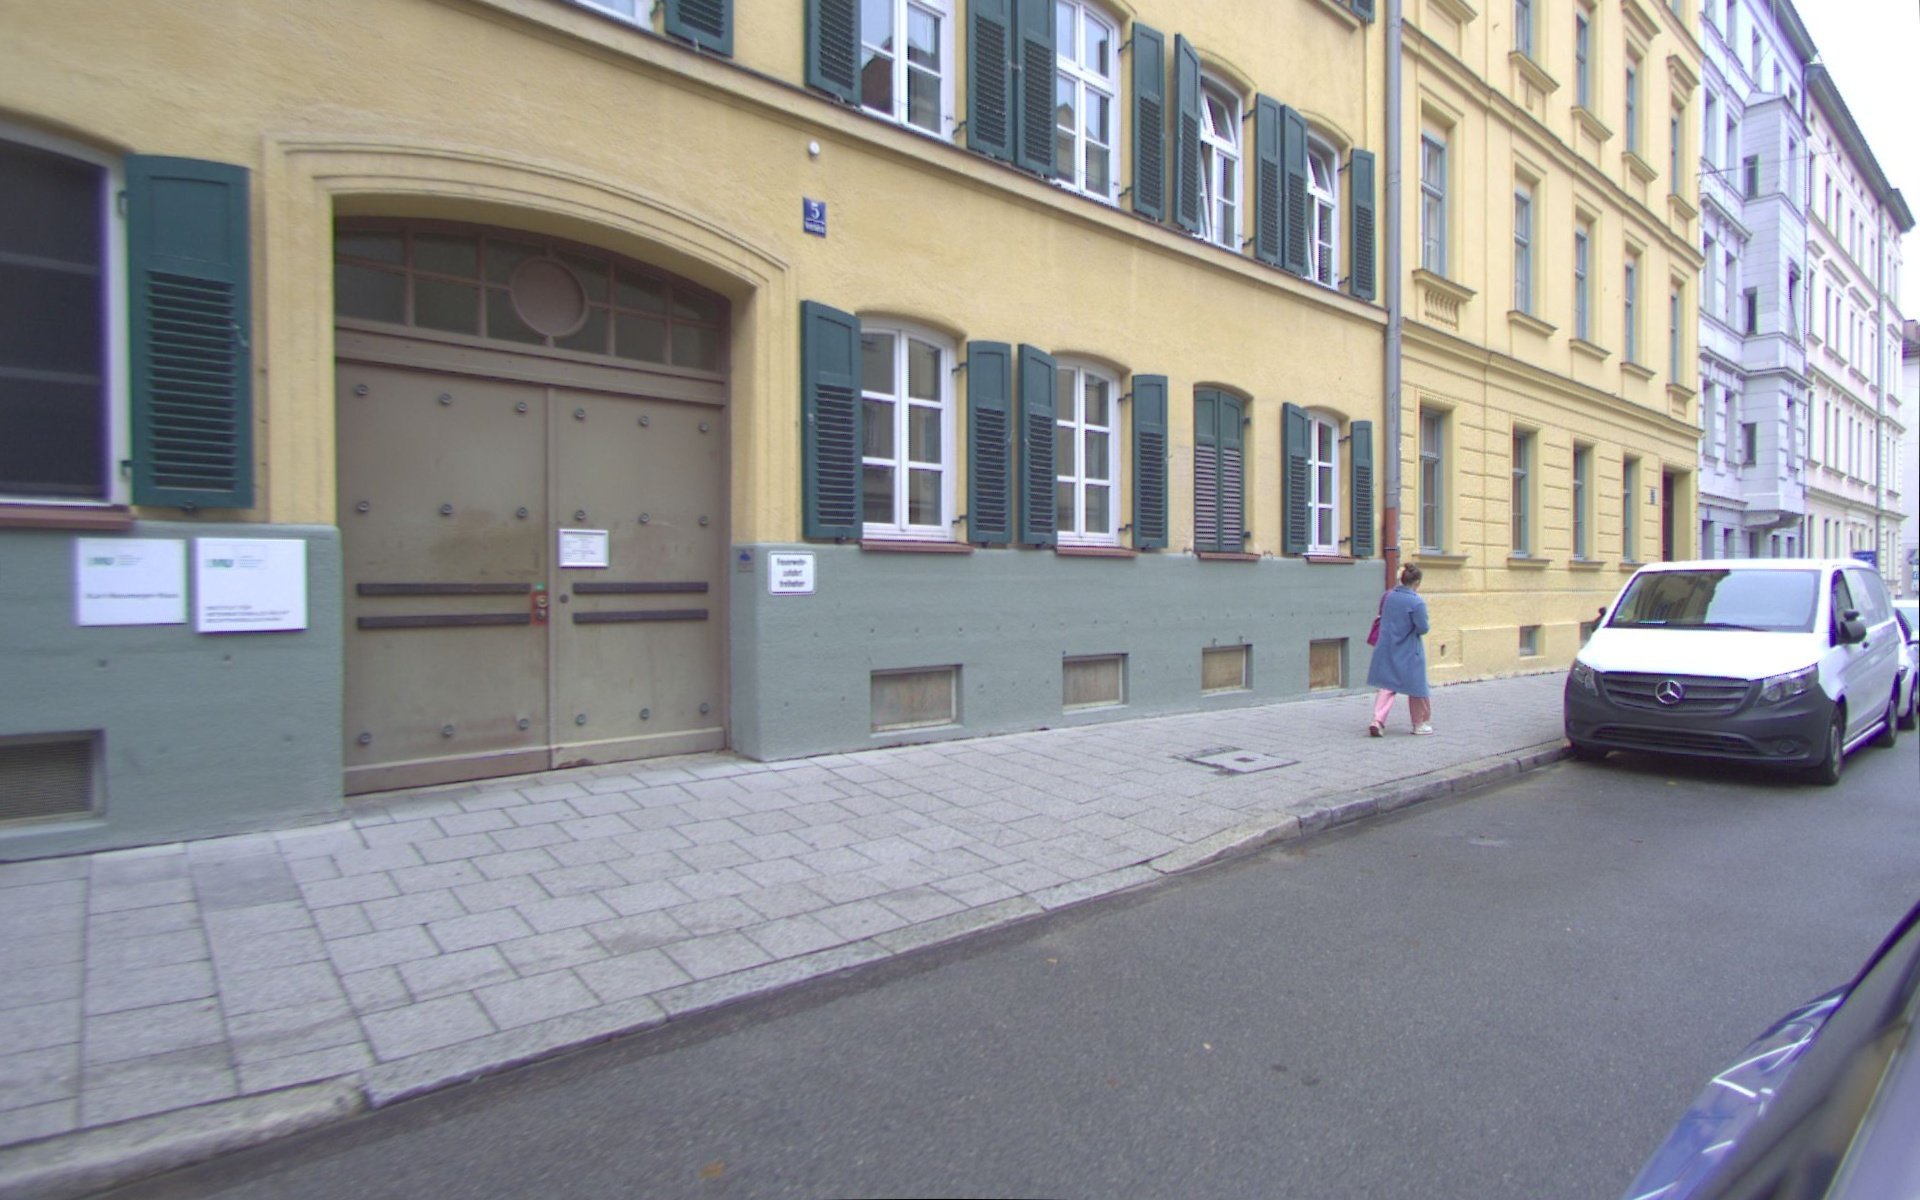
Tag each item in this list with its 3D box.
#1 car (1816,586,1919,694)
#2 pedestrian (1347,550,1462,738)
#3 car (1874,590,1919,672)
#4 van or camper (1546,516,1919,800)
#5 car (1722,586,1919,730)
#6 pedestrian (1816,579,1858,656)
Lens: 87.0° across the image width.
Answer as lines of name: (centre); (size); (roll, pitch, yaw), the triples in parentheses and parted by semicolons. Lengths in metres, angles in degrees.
car: (14.953, 0.570, 16.025); (3.696, 1.528, 1.626); (0, 1, -42)
pedestrian: (4.181, 0.384, 9.515); (0.881, 1.658, 0.598); (0, 4, -43)
car: (19.888, 0.590, 20.335); (4.390, 1.528, 1.720); (0, 1, -41)
van or camper: (7.664, 0.388, 9.729); (5.142, 2.039, 1.997); (0, 1, -42)
car: (11.491, 0.608, 13.100); (4.510, 1.528, 1.818); (0, 1, -43)
pedestrian: (22.082, 0.428, 25.475); (0.791, 1.886, 0.702); (1, 0, -43)
